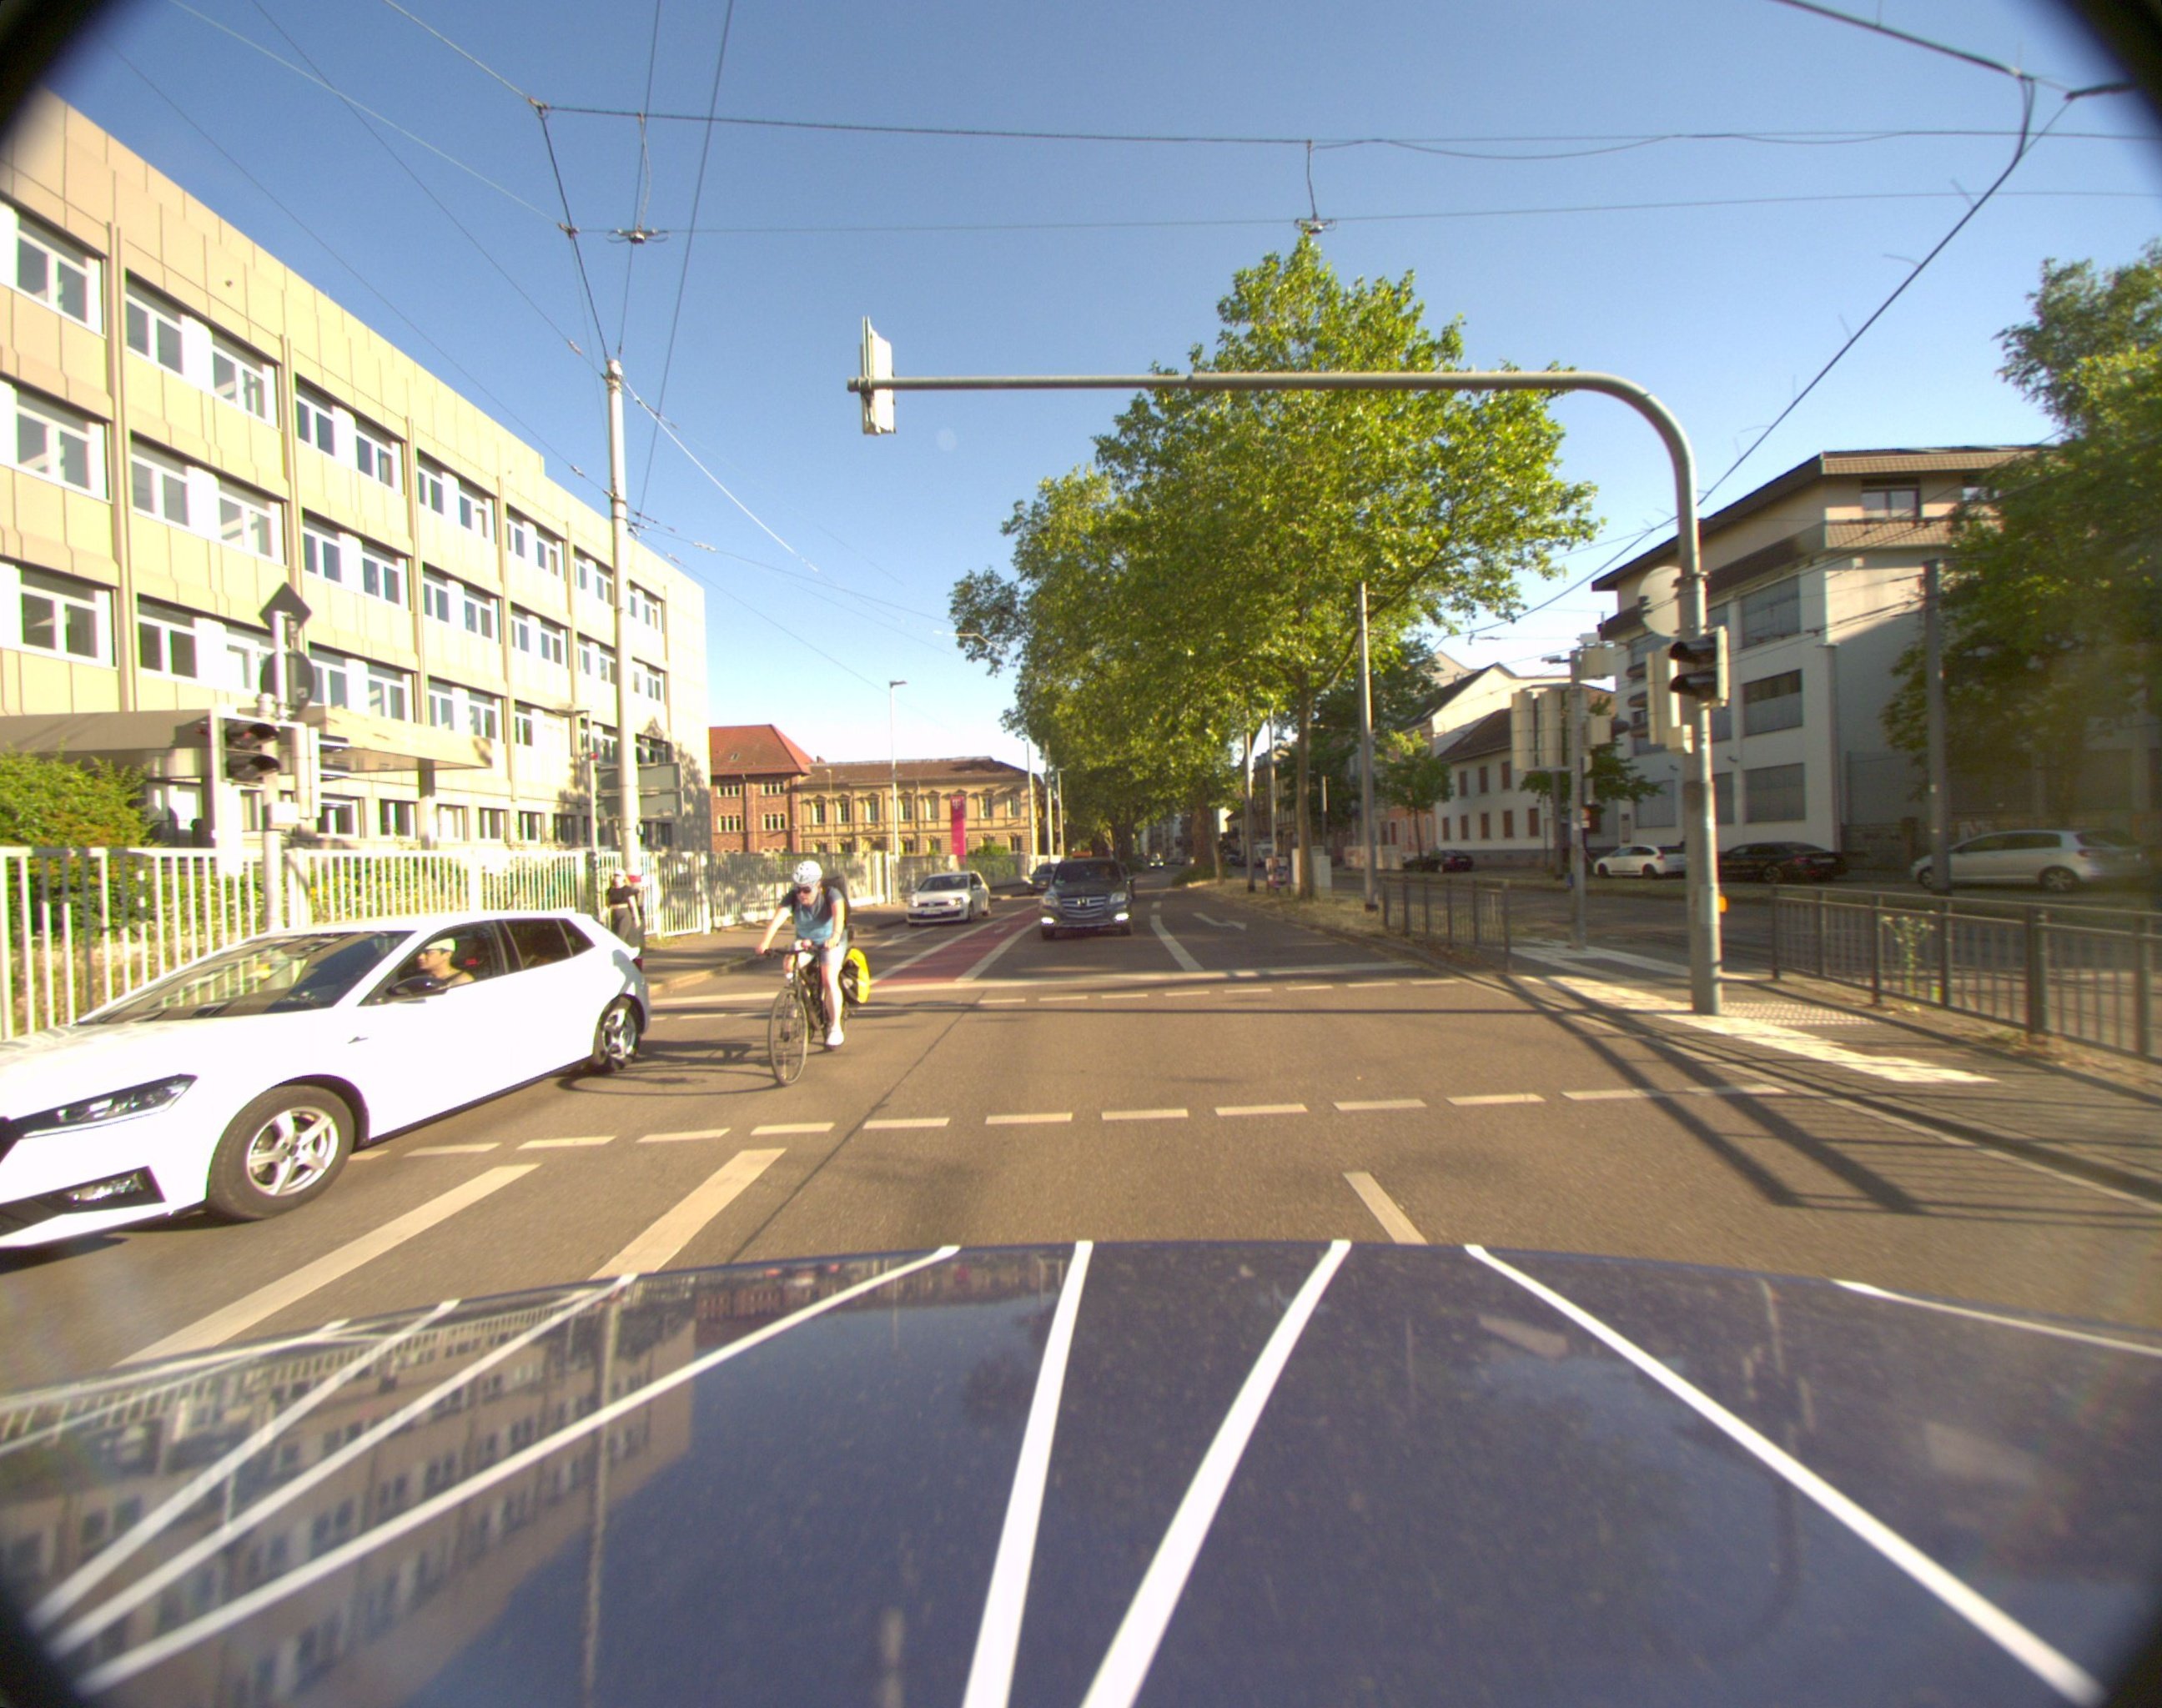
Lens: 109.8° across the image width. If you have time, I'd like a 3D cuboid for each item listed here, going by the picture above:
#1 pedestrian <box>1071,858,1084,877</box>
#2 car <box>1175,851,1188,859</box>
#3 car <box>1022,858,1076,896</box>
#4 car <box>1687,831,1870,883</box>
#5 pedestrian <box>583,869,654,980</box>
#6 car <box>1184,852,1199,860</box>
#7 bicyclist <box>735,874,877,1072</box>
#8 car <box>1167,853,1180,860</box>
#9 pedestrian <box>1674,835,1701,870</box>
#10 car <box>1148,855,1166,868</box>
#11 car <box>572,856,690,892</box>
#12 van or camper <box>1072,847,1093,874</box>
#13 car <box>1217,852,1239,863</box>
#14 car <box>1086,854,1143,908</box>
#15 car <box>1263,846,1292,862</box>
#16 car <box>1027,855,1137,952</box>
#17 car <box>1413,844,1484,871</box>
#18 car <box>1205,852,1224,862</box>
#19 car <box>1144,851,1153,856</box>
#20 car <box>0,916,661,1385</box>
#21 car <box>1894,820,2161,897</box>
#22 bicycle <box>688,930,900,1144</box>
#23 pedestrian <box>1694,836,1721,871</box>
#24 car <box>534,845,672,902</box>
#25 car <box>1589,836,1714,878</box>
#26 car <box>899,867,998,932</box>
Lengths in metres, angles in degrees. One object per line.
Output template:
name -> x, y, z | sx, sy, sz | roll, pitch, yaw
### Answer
pedestrian -> -0.282, 1.092, 61.280 | 0.898, 1.464, 0.810 | -2, 0, 1
car -> 21.316, 0.167, 161.571 | 2.087, 1.531, 4.008 | -5, 0, -3
car -> -1.583, 1.152, 39.427 | 1.792, 1.633, 4.304 | -5, 0, 10
car -> 24.030, 0.100, 26.456 | 2.087, 1.493, 4.456 | -5, 0, -3
pedestrian -> -7.645, 1.140, 12.590 | 0.592, 1.752, 0.770 | -2, 0, 5
car -> 21.949, 0.398, 151.268 | 2.087, 1.531, 4.255 | -5, 0, -3
bicyclist -> -2.162, 0.897, 6.085 | 0.728, 1.414, 0.859 | -4, 1, 0
car -> 21.519, 0.534, 176.928 | 2.087, 1.531, 4.119 | -5, 0, -3
pedestrian -> 26.558, -0.053, 33.285 | 0.537, 1.519, 0.711 | -2, 0, -7
car -> 10.960, 1.069, 109.849 | 1.998, 1.761, 4.000 | -4, 0, 0
car -> -22.131, 0.961, 37.505 | 4.574, 1.572, 2.000 | -2, 0, 0
van or camper -> 0.188, 0.662, 80.786 | 1.998, 2.578, 5.626 | -4, 0, 1
car -> 21.890, 0.508, 113.340 | 2.087, 1.531, 4.515 | -5, 0, -3
car -> 1.163, 0.913, 27.904 | 1.793, 1.694, 4.301 | -5, 0, 1
car -> 23.357, 0.044, 90.510 | 2.087, 1.664, 4.532 | -5, 0, -3
car -> 0.181, 0.932, 16.433 | 1.908, 1.634, 4.518 | -5, 0, 5
car -> 23.632, 0.221, 49.084 | 2.087, 1.461, 4.578 | -5, 0, -3
car -> 22.197, 0.502, 126.443 | 2.087, 1.531, 5.104 | -5, 0, -3
car -> 21.224, -0.131, 239.616 | 2.087, 1.531, 4.126 | -5, 0, -3
car -> -4.740, 1.295, 4.827 | 1.705, 1.381, 4.075 | -3, 0, 2
car -> 24.361, 0.104, 19.663 | 2.087, 1.610, 4.097 | -5, 0, -3
bicycle -> -2.135, 1.302, 6.076 | 0.764, 1.137, 2.307 | -2, 0, 0
pedestrian -> 27.472, -0.028, 33.328 | 0.537, 1.519, 0.711 | -2, 0, -1
car -> -17.446, 0.664, 28.092 | 1.998, 1.831, 4.785 | -2, 0, 1
car -> 24.034, 0.127, 32.200 | 2.087, 1.481, 3.996 | -5, 0, -3
car -> -3.751, 1.244, 22.240 | 1.793, 1.493, 4.302 | -5, 0, 3
